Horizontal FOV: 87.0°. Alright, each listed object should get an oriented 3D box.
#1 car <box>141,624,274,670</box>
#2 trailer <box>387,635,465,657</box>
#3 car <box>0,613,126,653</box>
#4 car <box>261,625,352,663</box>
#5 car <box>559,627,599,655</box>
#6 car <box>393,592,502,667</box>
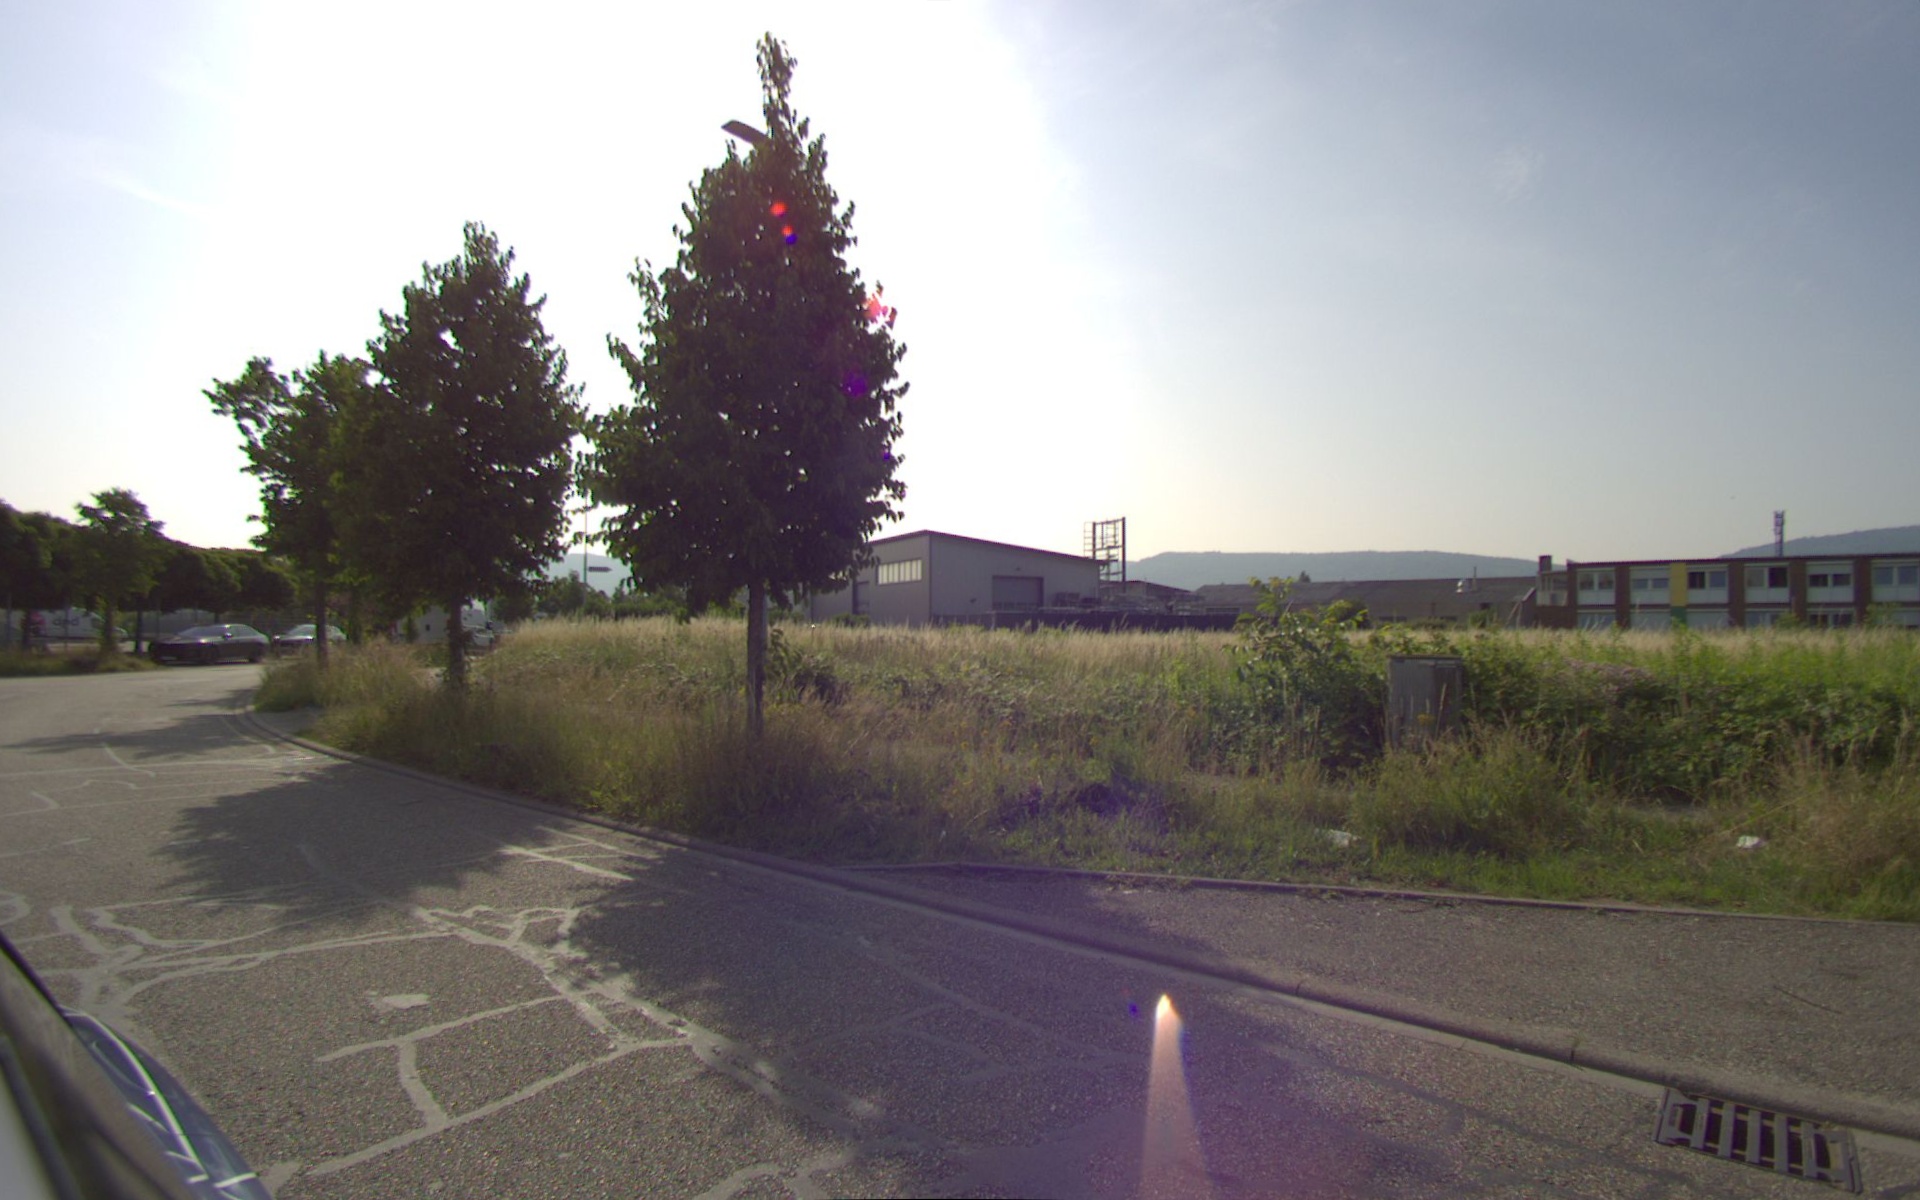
[{"bbox_3d":[-28.771,1.762,38.924,1.857,1.586,5.127,2,-2,-8],"label":"car"},{"bbox_3d":[-32.625,2.807,62.113,1.913,1.245,7.465,2,-2,-9],"label":"trailer"},{"bbox_3d":[-61.517,2.271,69.495,2.211,2.669,6.188,-2,-3,40],"label":"car"},{"bbox_3d":[-29.547,1.967,45.911,1.857,1.586,4.121,3,-2,-8],"label":"car"},{"bbox_3d":[-23.789,2.571,63.306,1.577,1.663,3.650,-1,-2,-9],"label":"car"},{"bbox_3d":[-19.612,1.153,39.096,2.074,2.615,6.518,0,-2,-11],"label":"car"}]
